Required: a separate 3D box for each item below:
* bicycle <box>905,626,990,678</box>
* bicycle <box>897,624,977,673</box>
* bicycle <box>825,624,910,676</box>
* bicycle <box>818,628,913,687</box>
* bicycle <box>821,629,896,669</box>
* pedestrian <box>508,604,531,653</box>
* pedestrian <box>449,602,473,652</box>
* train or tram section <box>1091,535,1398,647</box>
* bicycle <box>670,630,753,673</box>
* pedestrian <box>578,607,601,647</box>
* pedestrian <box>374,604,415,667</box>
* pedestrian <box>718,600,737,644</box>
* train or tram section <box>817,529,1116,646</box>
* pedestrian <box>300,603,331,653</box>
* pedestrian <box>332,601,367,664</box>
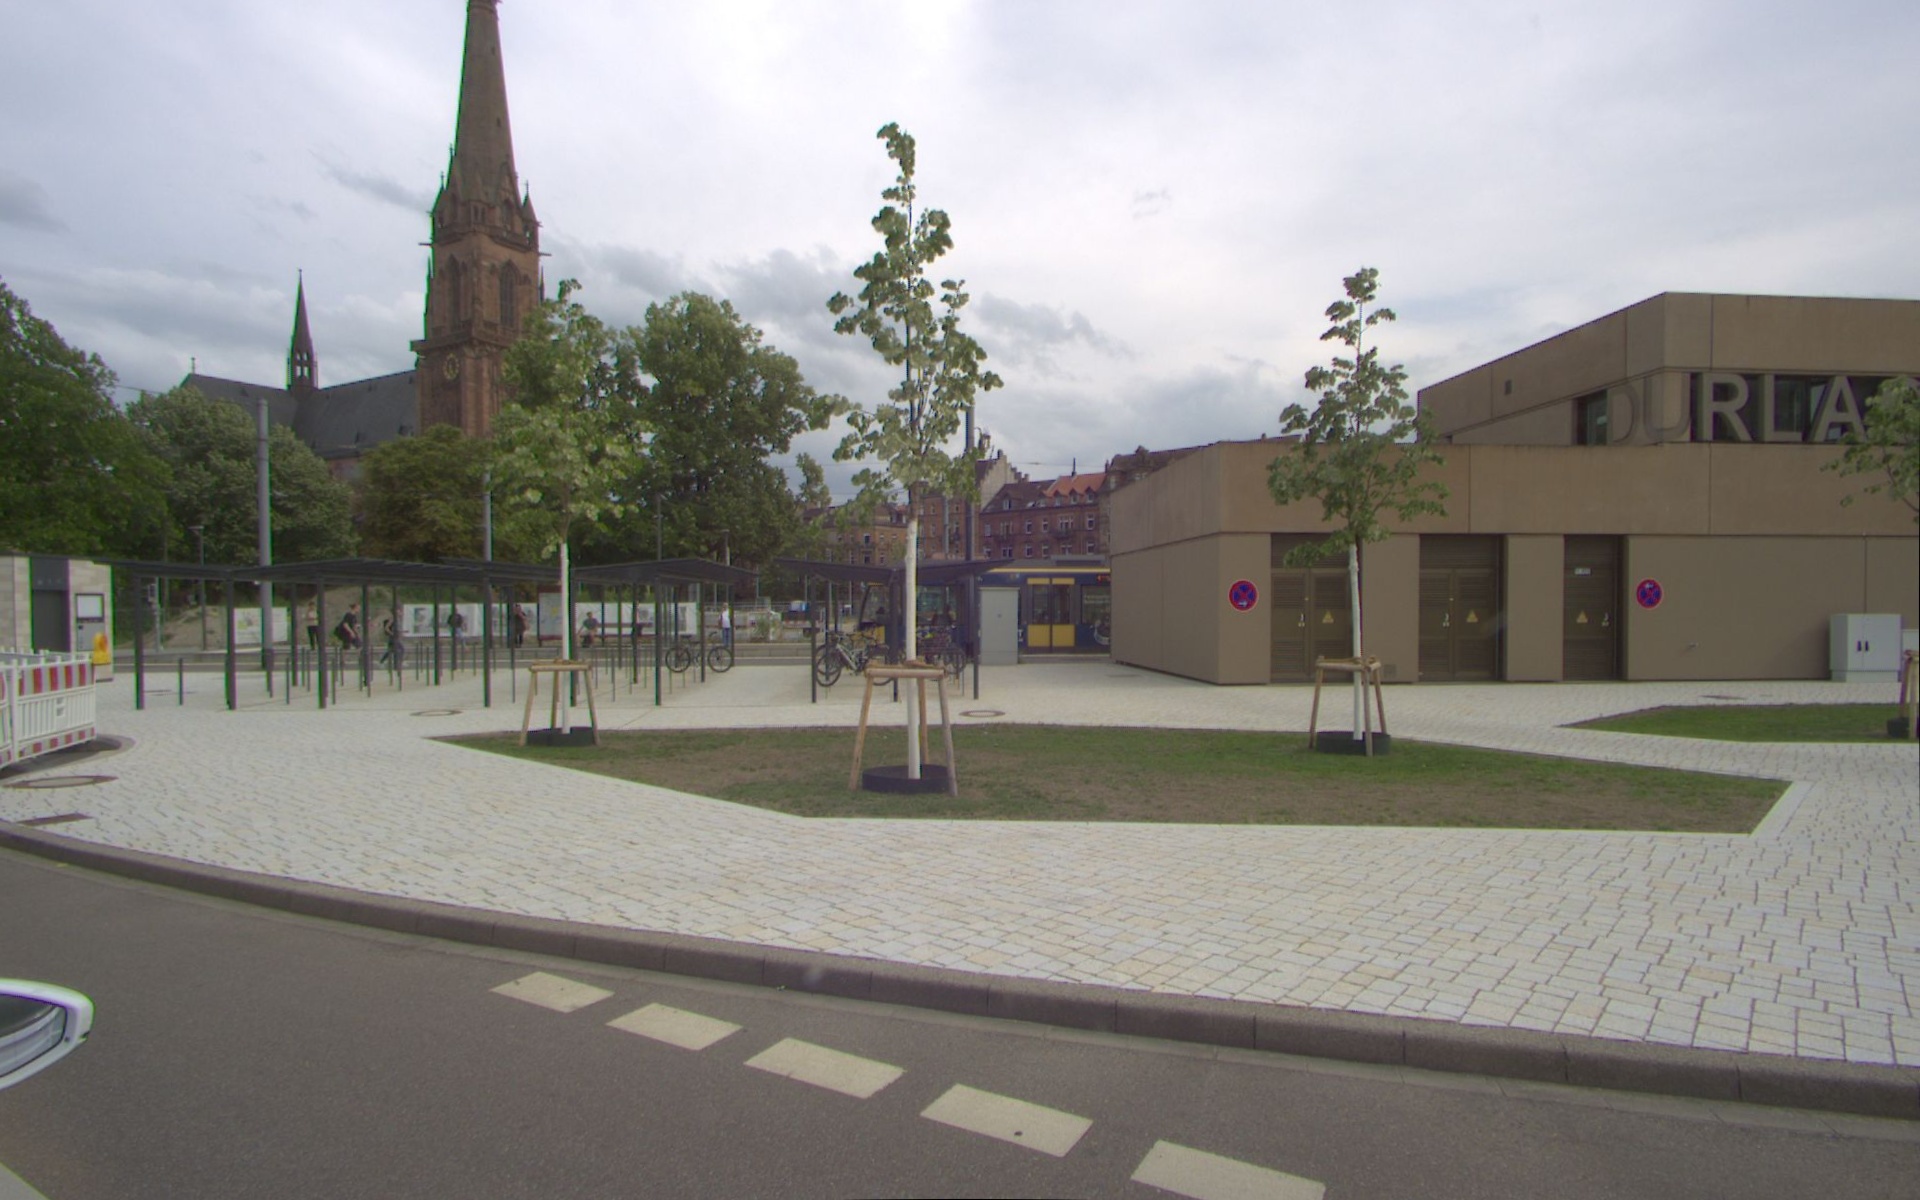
[{"bbox_3d":[-0.298,1.254,24.085,1.931,1.172,0.583,2,1,-13],"label":"bicycle"},{"bbox_3d":[-0.601,1.228,25.508,1.931,1.172,0.583,2,1,-13],"label":"bicycle"},{"bbox_3d":[-2.224,1.188,24.021,1.931,1.172,0.583,2,1,-13],"label":"bicycle"},{"bbox_3d":[-2.010,1.225,21.243,1.931,1.172,0.583,2,1,-13],"label":"bicycle"},{"bbox_3d":[-2.680,1.289,26.496,1.929,0.983,0.583,2,1,-7],"label":"bicycle"},{"bbox_3d":[-16.621,1.076,37.756,0.665,1.825,0.522,2,2,-11],"label":"pedestrian"},{"bbox_3d":[-18.716,1.018,37.549,0.665,1.825,0.522,2,2,-11],"label":"pedestrian"},{"bbox_3d":[9.315,-0.292,33.438,9.248,3.256,3.061,2,1,-4],"label":"train or tram section"},{"bbox_3d":[-6.136,1.268,24.812,1.929,0.968,0.583,2,1,-7],"label":"bicycle"},{"bbox_3d":[-14.108,1.028,38.120,0.665,1.505,0.689,2,1,-11],"label":"pedestrian"},{"bbox_3d":[-15.027,0.932,26.619,0.782,1.625,0.538,2,1,-5],"label":"pedestrian"},{"bbox_3d":[-9.152,0.873,39.461,0.665,1.701,0.709,2,1,-11],"label":"pedestrian"},{"bbox_3d":[0.134,-0.384,32.575,9.189,3.321,3.061,2,1,-4],"label":"train or tram section"},{"bbox_3d":[-24.075,1.033,37.395,0.743,1.825,0.817,3,2,42],"label":"pedestrian"},{"bbox_3d":[-16.779,0.891,27.518,0.618,1.677,0.531,2,1,-5],"label":"pedestrian"}]
